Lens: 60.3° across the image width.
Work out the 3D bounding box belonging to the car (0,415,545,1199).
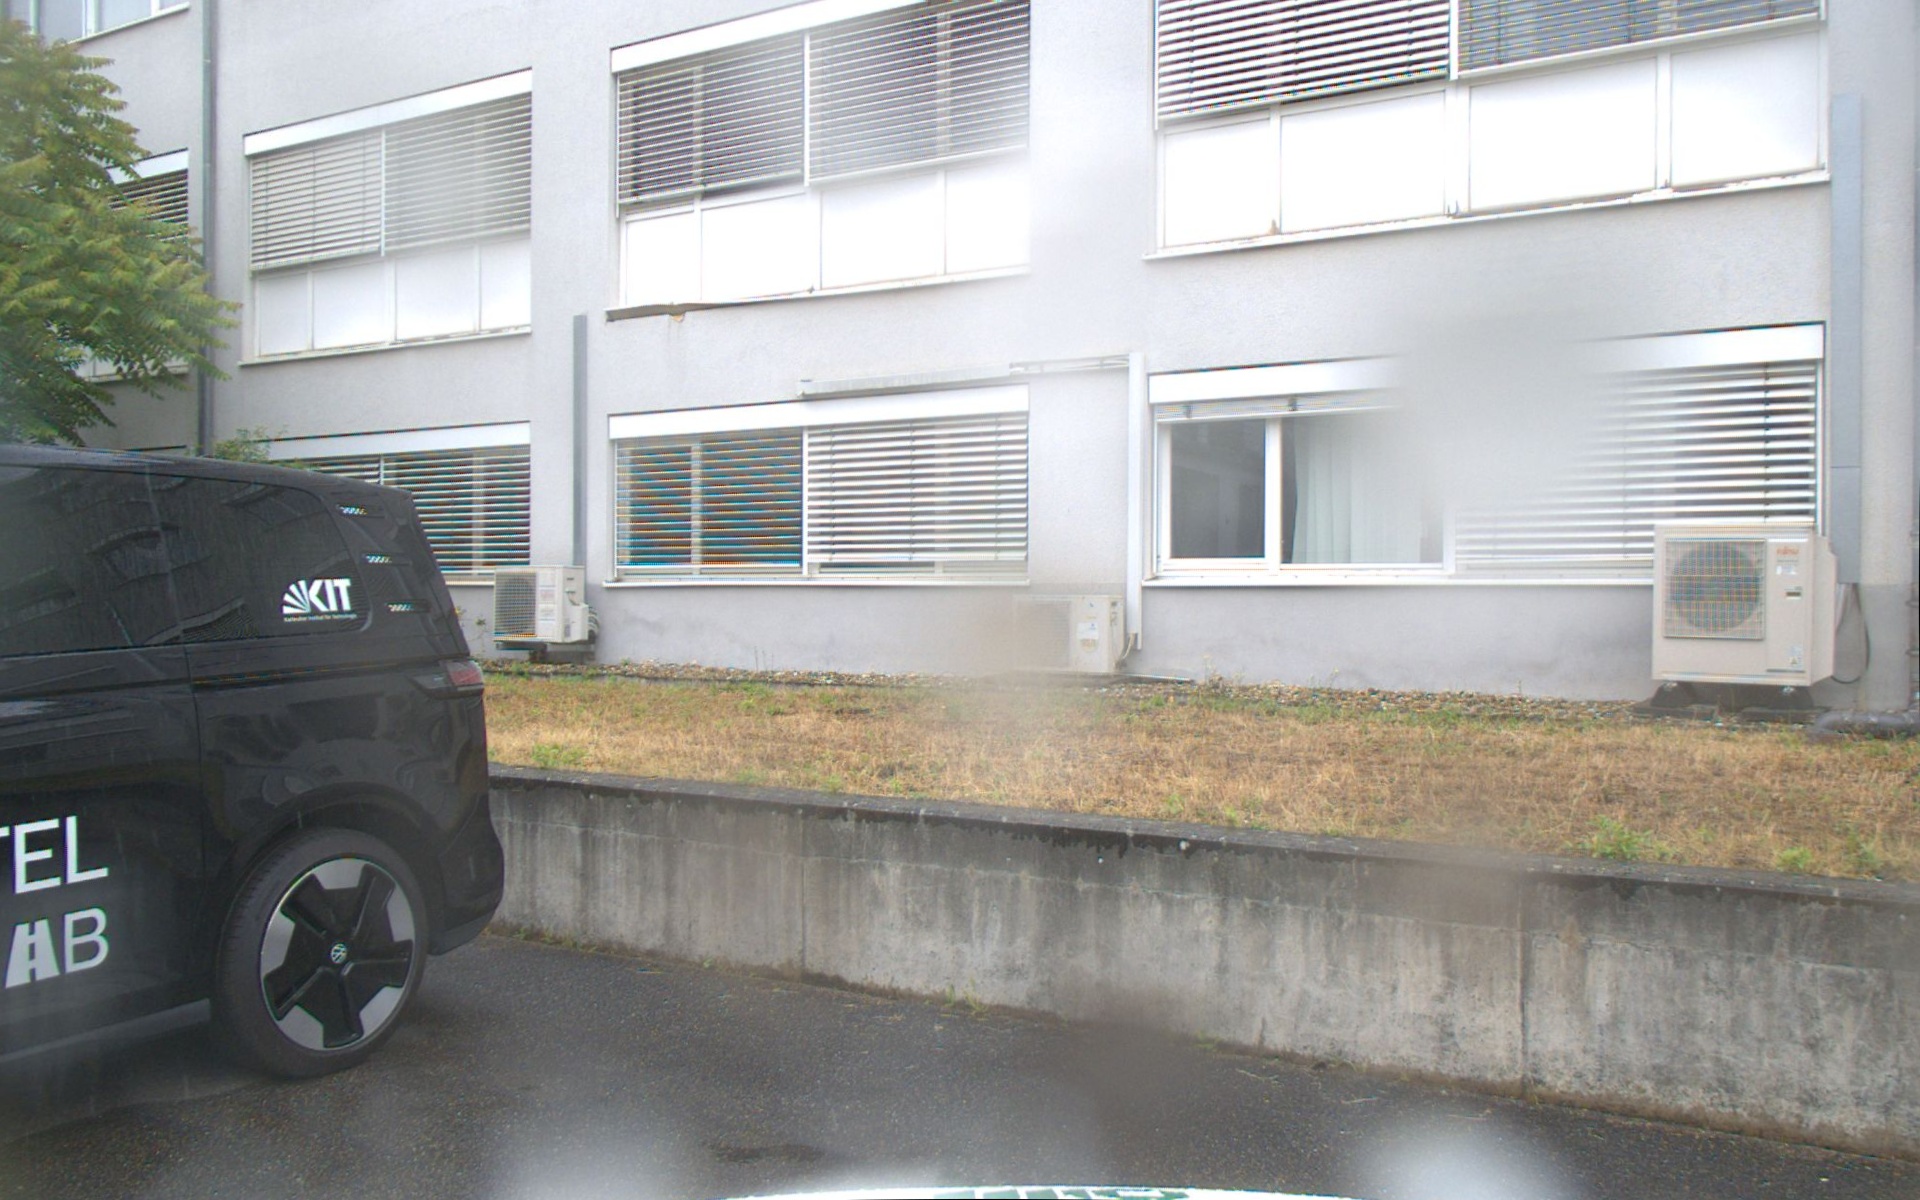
[{"bbox_3d":[-3.413,0.526,4.200,2.002,1.930,4.514,-1,0,30],"label":"car"}]
